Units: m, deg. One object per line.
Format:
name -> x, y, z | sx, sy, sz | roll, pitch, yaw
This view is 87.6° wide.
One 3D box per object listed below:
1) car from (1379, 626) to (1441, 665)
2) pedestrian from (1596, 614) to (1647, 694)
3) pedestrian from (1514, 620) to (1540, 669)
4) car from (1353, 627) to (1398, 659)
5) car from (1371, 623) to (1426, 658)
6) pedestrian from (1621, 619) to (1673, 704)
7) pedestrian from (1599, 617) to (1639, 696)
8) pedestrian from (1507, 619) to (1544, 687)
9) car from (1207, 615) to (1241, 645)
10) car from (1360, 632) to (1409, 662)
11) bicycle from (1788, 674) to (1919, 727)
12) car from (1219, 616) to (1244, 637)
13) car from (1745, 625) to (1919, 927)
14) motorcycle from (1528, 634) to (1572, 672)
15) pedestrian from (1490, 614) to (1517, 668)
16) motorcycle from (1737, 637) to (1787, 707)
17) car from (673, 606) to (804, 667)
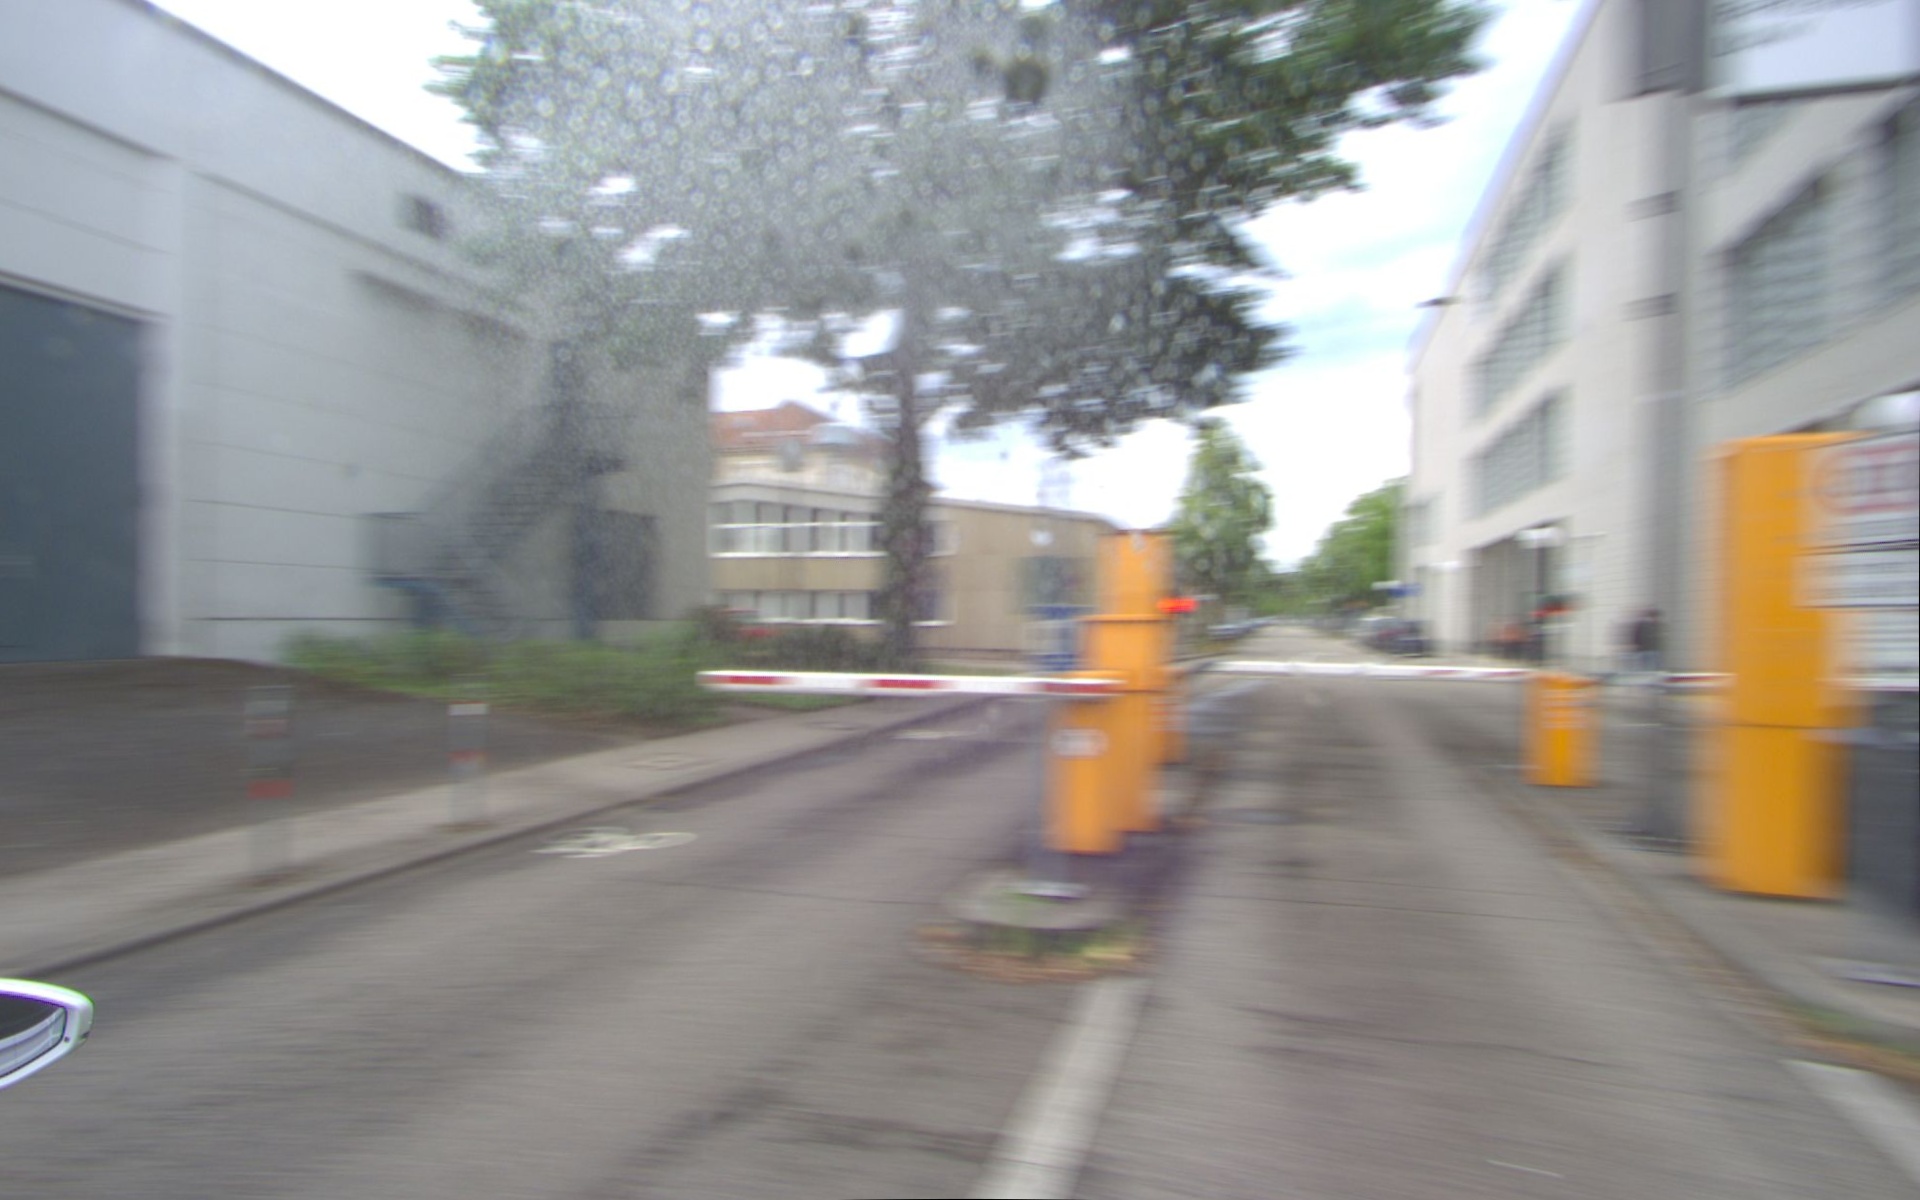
car -> 19.830, 1.979, 44.282 | 1.964, 1.643, 4.423 | 0, -2, 17
pedestrian -> 14.805, 1.197, 22.426 | 0.716, 1.722, 0.587 | 2, 2, 13
pedestrian -> 18.367, 1.446, 32.460 | 0.634, 1.547, 0.471 | 2, 0, 20
car -> 23.965, 2.450, 57.900 | 1.964, 1.805, 4.422 | -1, -1, 17
car -> 21.205, 1.933, 48.591 | 1.964, 1.643, 4.422 | -1, -1, 18
pedestrian -> 14.484, 1.273, 21.128 | 0.679, 1.722, 0.587 | 2, 2, 17
pedestrian -> 14.757, 1.262, 22.431 | 0.602, 1.737, 0.574 | 0, 0, 16
pedestrian -> 14.848, 1.383, 26.297 | 0.685, 1.737, 0.489 | 2, 0, 14
car -> 15.433, 1.747, 58.413 | 1.743, 1.622, 3.995 | 1, -1, 17
car -> 22.559, 2.492, 53.332 | 1.964, 1.482, 4.422 | -1, -1, 17
bicycle -> 14.431, 1.600, 15.933 | 1.867, 0.708, 0.492 | 2, 2, 15
car -> 21.804, 2.134, 80.274 | 1.744, 1.622, 3.995 | 1, -1, 17
car -> 5.397, 0.864, 4.330 | 1.756, 1.437, 4.124 | 1, -1, 17
motorcycle -> 20.468, 1.825, 34.722 | 0.753, 1.164, 2.639 | 3, 2, 42
pedestrian -> 17.631, 1.323, 32.476 | 0.686, 1.737, 0.488 | 2, 0, 22
motorcycle -> 15.280, 1.340, 19.053 | 0.561, 1.164, 2.198 | 3, 3, 42
car -> -6.155, 0.986, 28.302 | 1.835, 1.550, 3.995 | 1, -1, 17
